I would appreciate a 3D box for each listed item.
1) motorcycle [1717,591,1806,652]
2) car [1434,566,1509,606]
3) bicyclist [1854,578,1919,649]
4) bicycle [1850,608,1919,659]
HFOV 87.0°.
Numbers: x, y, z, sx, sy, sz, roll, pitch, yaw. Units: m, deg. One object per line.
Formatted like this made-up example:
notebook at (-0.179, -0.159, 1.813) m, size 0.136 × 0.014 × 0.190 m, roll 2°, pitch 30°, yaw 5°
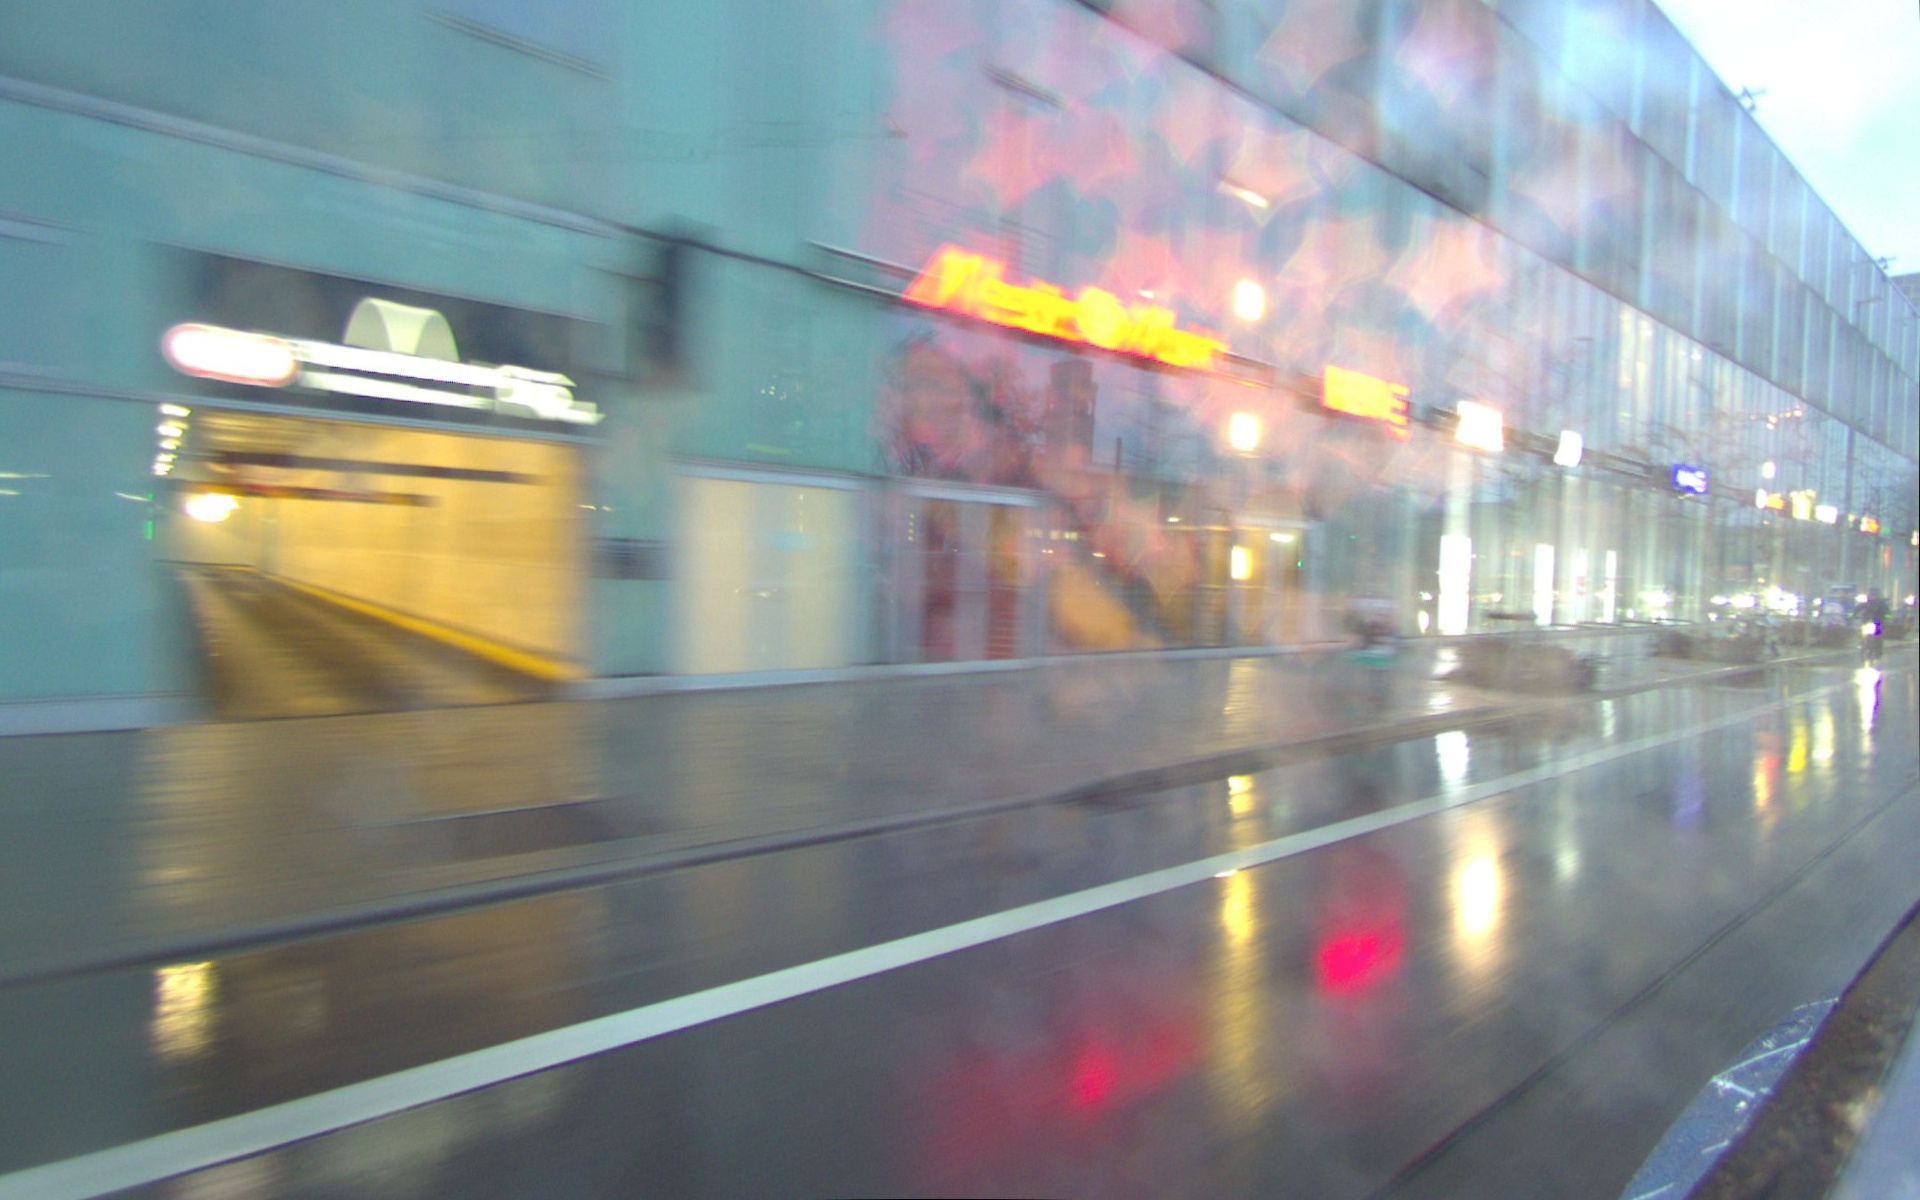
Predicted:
motorcycle at (19.339, 0.494, 24.475) m, size 0.584 × 1.350 × 1.910 m, roll 1°, pitch 2°, yaw 1°
car at (23.504, -0.646, 46.442) m, size 3.930 × 1.752 × 1.674 m, roll 0°, pitch 2°, yaw -41°
bicyclist at (20.187, 0.274, 21.986) m, size 1.047 × 1.481 × 0.945 m, roll 0°, pitch 1°, yaw -38°
bicycle at (20.305, 0.709, 22.071) m, size 2.199 × 1.012 × 0.945 m, roll 0°, pitch 1°, yaw -38°
